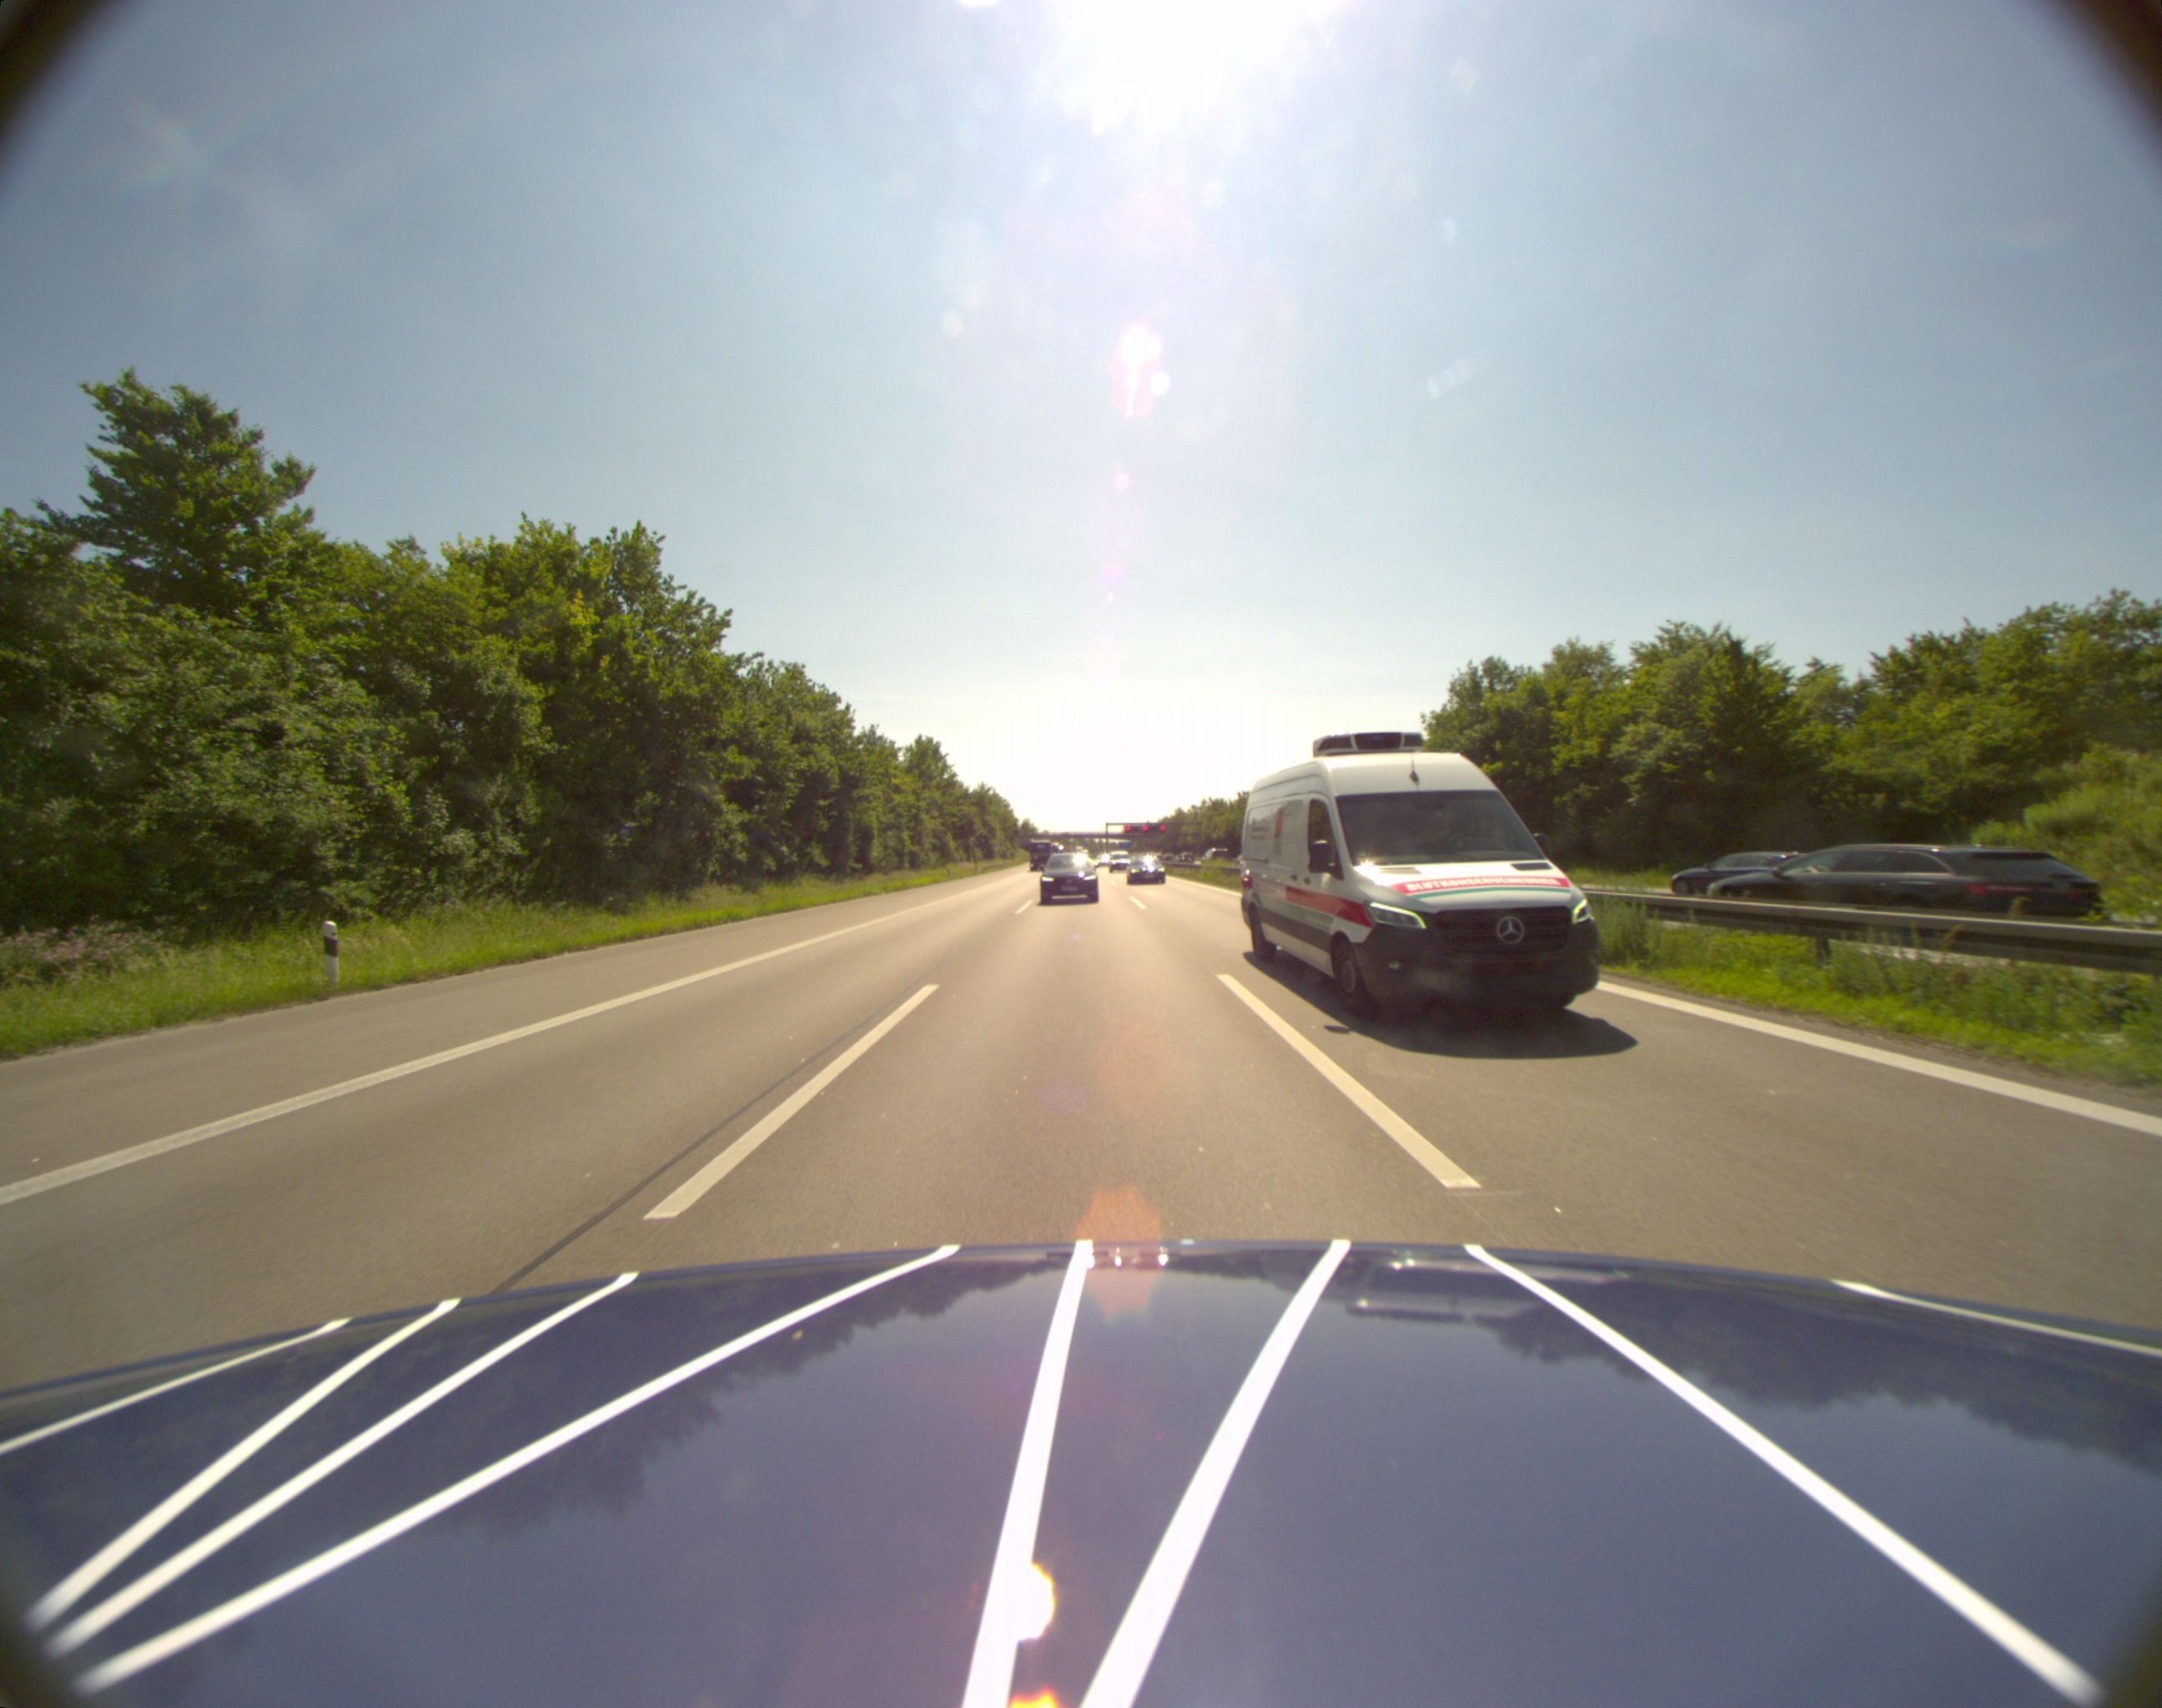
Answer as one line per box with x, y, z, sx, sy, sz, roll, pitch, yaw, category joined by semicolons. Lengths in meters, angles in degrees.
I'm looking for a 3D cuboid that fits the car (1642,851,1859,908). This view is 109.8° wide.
19.111;0.643;22.088;1.900;1.430;4.923;1;0;0;car

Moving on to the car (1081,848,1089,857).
0.975;-0.387;194.356;1.998;2.002;4.345;-1;0;1;car

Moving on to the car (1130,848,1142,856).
10.632;-0.311;147.022;1.999;1.466;4.830;-1;0;-1;car

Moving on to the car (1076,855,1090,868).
0.333;1.016;105.572;1.742;1.630;3.845;0;1;3;car

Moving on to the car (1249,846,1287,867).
15.795;0.225;64.395;1.999;1.680;4.264;-1;0;-1;car

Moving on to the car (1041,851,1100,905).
-0.345;0.748;26.190;1.812;1.648;3.999;-2;0;0;car

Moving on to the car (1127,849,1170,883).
3.470;0.580;39.604;1.904;1.616;4.240;-2;0;1;car

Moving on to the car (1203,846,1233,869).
11.757;0.313;65.383;1.821;1.892;4.000;-1;0;1;car

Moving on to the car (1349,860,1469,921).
11.341;1.194;26.723;1.999;1.854;4.897;-1;0;-1;car

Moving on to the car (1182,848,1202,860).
15.704;-0.043;107.789;1.999;1.620;4.574;-1;0;-1;car

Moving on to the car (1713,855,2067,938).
15.520;0.711;15.091;1.900;1.332;4.763;1;0;0;car

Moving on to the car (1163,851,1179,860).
15.450;0.194;130.098;1.999;1.466;5.622;-1;0;-1;car

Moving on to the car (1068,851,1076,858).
-2.514;0.099;211.433;1.998;1.765;4.236;-1;0;1;car

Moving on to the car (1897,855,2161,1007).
12.270;0.815;8.103;1.837;1.556;4.956;-1;0;0;car

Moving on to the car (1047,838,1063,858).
-5.343;-1.209;159.140;3.203;3.997;8.124;-1;1;-1;car

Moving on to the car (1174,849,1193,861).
12.011;0.104;89.012;1.672;1.309;4.120;-1;0;0;car

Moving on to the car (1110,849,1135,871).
3.531;0.518;65.224;1.870;1.713;3.979;-1;2;-1;car

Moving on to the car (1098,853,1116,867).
3.132;0.718;91.526;1.998;1.540;3.999;-1;1;1;car

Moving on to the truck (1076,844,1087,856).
0.122;-1.400;239.573;3.243;3.684;10.932;-1;1;-1;truck

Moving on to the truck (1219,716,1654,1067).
3.265;0.268;9.017;1.998;2.527;6.691;-3;0;1;truck

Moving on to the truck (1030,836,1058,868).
-4.067;-0.248;86.089;2.965;3.388;8.045;-1;1;-2;truck

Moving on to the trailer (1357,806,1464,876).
19.276;-0.721;45.129;2.686;3.747;8.406;0;0;0;trailer

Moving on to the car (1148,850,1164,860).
11.300;0.079;114.524;1.959;1.474;4.345;-1;0;1;car
